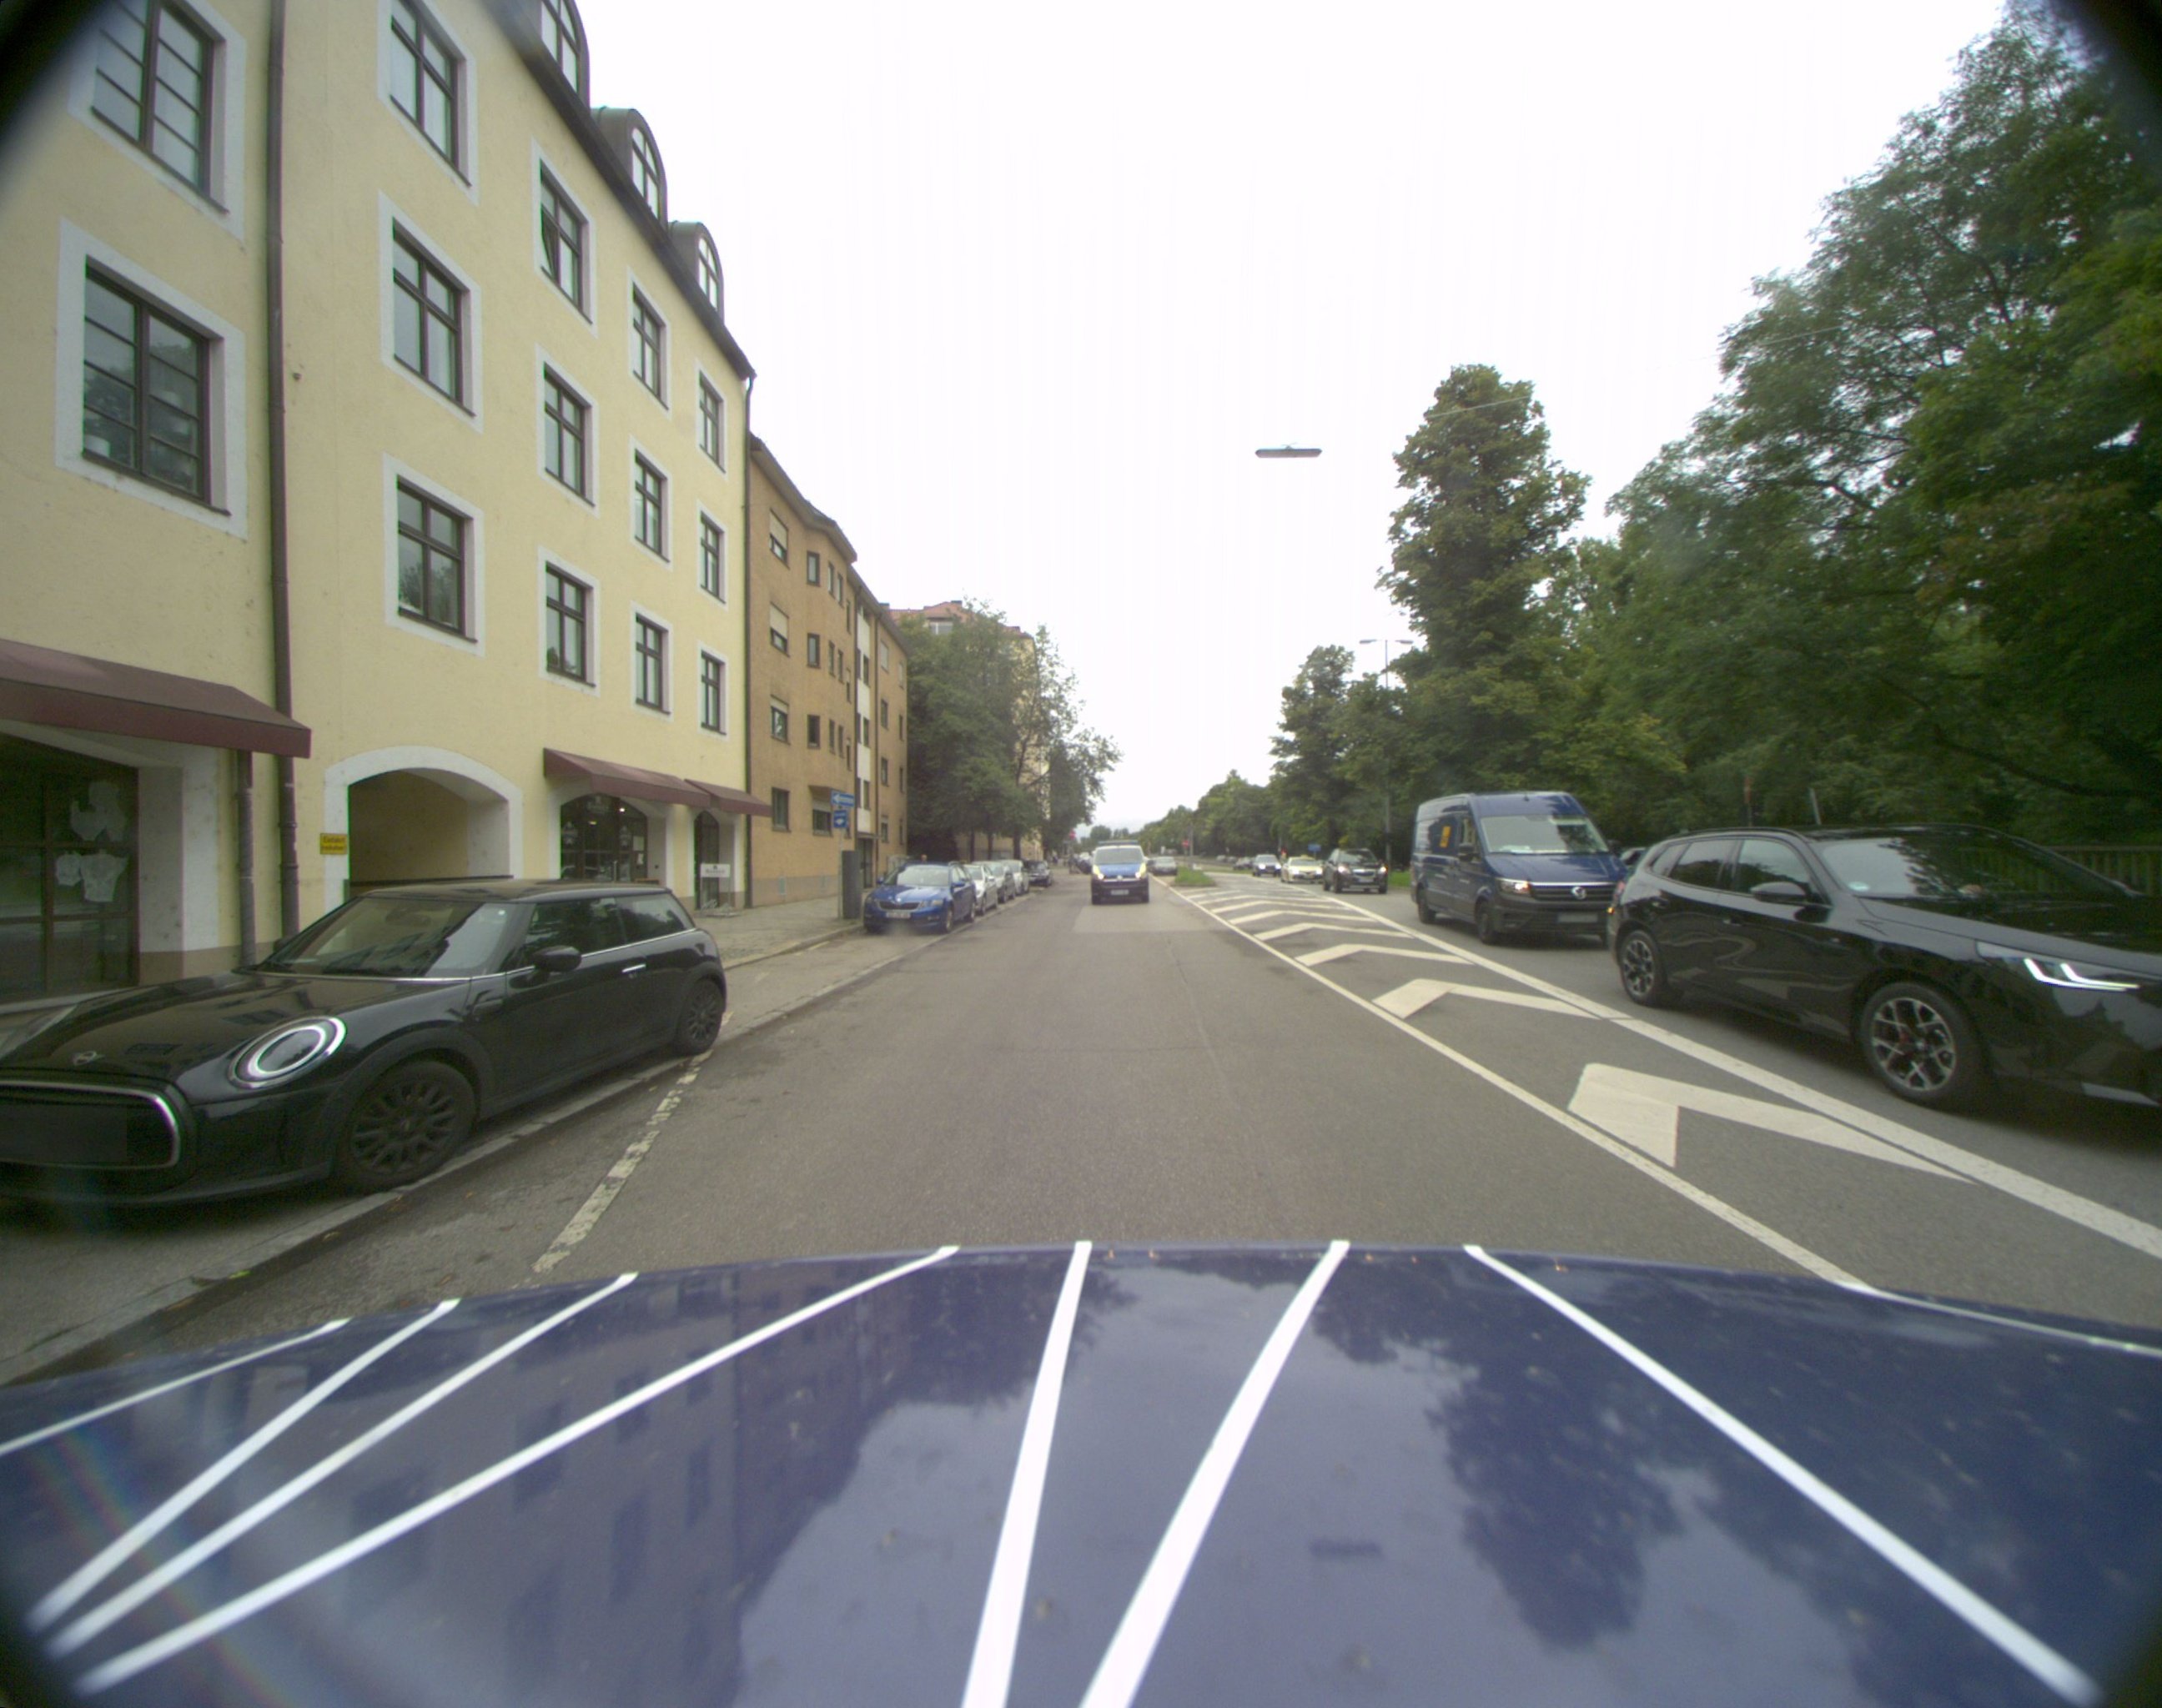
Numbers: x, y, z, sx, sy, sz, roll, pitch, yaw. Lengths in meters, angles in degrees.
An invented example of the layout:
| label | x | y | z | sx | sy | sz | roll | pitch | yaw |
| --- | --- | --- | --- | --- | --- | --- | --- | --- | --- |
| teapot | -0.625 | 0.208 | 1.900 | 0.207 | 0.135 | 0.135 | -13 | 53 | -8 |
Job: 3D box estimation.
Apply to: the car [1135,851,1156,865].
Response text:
| label | x | y | z | sx | sy | sz | roll | pitch | yaw |
| --- | --- | --- | --- | --- | --- | --- | --- | --- | --- |
| car | 8.162 | 0.529 | 96.825 | 2.075 | 1.692 | 5.089 | -1 | 0 | -2 |

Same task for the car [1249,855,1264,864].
| label | x | y | z | sx | sy | sz | roll | pitch | yaw |
| --- | --- | --- | --- | --- | --- | --- | --- | --- | --- |
| car | 32.159 | 0.990 | 138.996 | 1.866 | 1.736 | 4.000 | -1 | 0 | 0 |

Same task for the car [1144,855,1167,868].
| label | x | y | z | sx | sy | sz | roll | pitch | yaw |
| --- | --- | --- | --- | --- | --- | --- | --- | --- | --- |
| car | 8.539 | 0.812 | 87.294 | 1.992 | 1.447 | 4.281 | 0 | 0 | -2 |

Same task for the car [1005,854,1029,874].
| label | x | y | z | sx | sy | sz | roll | pitch | yaw |
| --- | --- | --- | --- | --- | --- | --- | --- | --- | --- |
| car | -5.324 | 0.826 | 63.576 | 1.825 | 1.556 | 4.244 | 0 | 0 | -2 |

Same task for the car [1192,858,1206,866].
| label | x | y | z | sx | sy | sz | roll | pitch | yaw |
| --- | --- | --- | --- | --- | --- | --- | --- | --- | --- |
| car | 22.615 | 1.563 | 145.699 | 1.832 | 1.438 | 4.235 | 1 | 0 | -2 |

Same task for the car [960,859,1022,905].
| label | x | y | z | sx | sy | sz | roll | pitch | yaw |
| --- | --- | --- | --- | --- | --- | --- | --- | --- | --- |
| car | -3.186 | 0.951 | 27.464 | 1.632 | 1.487 | 3.787 | 1 | 0 | 2 |

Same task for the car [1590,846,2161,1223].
| label | x | y | z | sx | sy | sz | roll | pitch | yaw |
| --- | --- | --- | --- | --- | --- | --- | --- | --- | --- |
| car | 5.863 | 0.761 | 5.457 | 1.916 | 1.577 | 4.834 | -1 | 0 | 11 |

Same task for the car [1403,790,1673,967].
| label | x | y | z | sx | sy | sz | roll | pitch | yaw |
| --- | --- | --- | --- | --- | --- | --- | --- | --- | --- |
| car | 7.606 | 0.297 | 13.562 | 2.187 | 2.450 | 5.855 | 0 | 1 | 10 |

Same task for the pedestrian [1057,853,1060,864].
| label | x | y | z | sx | sy | sz | roll | pitch | yaw |
| --- | --- | --- | --- | --- | --- | --- | --- | --- | --- |
| pedestrian | -3.860 | 0.777 | 130.521 | 0.458 | 2.002 | 0.617 | 0 | 0 | -17 |

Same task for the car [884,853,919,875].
| label | x | y | z | sx | sy | sz | roll | pitch | yaw |
| --- | --- | --- | --- | --- | --- | --- | --- | --- | --- |
| car | -14.889 | 0.773 | 63.217 | 1.917 | 1.741 | 4.244 | 0 | 0 | -1 |

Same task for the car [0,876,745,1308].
| label | x | y | z | sx | sy | sz | roll | pitch | yaw |
| --- | --- | --- | --- | --- | --- | --- | --- | --- | --- |
| car | -3.990 | 0.953 | 4.824 | 1.760 | 1.487 | 3.824 | 1 | 0 | 5 |

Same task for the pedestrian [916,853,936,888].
| label | x | y | z | sx | sy | sz | roll | pitch | yaw |
| --- | --- | --- | --- | --- | --- | --- | --- | --- | --- |
| pedestrian | -7.232 | 0.756 | 35.548 | 0.672 | 1.614 | 0.980 | -1 | 1 | 3 |

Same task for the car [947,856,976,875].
| label | x | y | z | sx | sy | sz | roll | pitch | yaw |
| --- | --- | --- | --- | --- | --- | --- | --- | --- | --- |
| car | -9.981 | 0.934 | 63.554 | 1.917 | 1.458 | 4.244 | 0 | 0 | -2 |

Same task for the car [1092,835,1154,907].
| label | x | y | z | sx | sy | sz | roll | pitch | yaw |
| --- | --- | --- | --- | --- | --- | --- | --- | --- | --- |
| car | 1.336 | 0.488 | 25.473 | 1.856 | 2.198 | 4.553 | -1 | 1 | 1 |

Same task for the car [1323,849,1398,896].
| label | x | y | z | sx | sy | sz | roll | pitch | yaw |
| --- | --- | --- | --- | --- | --- | --- | --- | --- | --- |
| car | 10.324 | 0.644 | 28.386 | 1.990 | 1.618 | 4.277 | 0 | 0 | 11 |

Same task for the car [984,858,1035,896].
| label | x | y | z | sx | sy | sz | roll | pitch | yaw |
| --- | --- | --- | --- | --- | --- | --- | --- | --- | --- |
| car | -2.957 | 0.936 | 32.220 | 1.632 | 1.487 | 3.821 | 1 | 0 | 2 |

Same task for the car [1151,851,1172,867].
| label | x | y | z | sx | sy | sz | roll | pitch | yaw |
| --- | --- | --- | --- | --- | --- | --- | --- | --- | --- |
| car | 8.047 | 0.519 | 76.258 | 1.991 | 1.556 | 4.284 | 0 | 0 | 4 |

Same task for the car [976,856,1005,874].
| label | x | y | z | sx | sy | sz | roll | pitch | yaw |
| --- | --- | --- | --- | --- | --- | --- | --- | --- | --- |
| car | -7.586 | 0.908 | 63.975 | 2.054 | 1.458 | 4.244 | 0 | 0 | -2 |

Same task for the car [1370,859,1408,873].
| label | x | y | z | sx | sy | sz | roll | pitch | yaw |
| --- | --- | --- | --- | --- | --- | --- | --- | --- | --- |
| car | 33.093 | 1.264 | 81.763 | 1.999 | 1.438 | 4.524 | 1 | 0 | -3 |

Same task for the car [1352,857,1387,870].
| label | x | y | z | sx | sy | sz | roll | pitch | yaw |
| --- | --- | --- | --- | --- | --- | --- | --- | --- | --- |
| car | 32.913 | 1.074 | 86.771 | 1.999 | 1.438 | 4.524 | 1 | 0 | -3 |

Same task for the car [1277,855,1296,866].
| label | x | y | z | sx | sy | sz | roll | pitch | yaw |
| --- | --- | --- | --- | --- | --- | --- | --- | --- | --- |
| car | 32.775 | 0.986 | 121.218 | 1.998 | 1.736 | 4.000 | -1 | 0 | 0 |

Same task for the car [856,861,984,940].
| label | x | y | z | sx | sy | sz | roll | pitch | yaw |
| --- | --- | --- | --- | --- | --- | --- | --- | --- | --- |
| car | -3.462 | 0.936 | 17.183 | 1.760 | 1.487 | 4.488 | 1 | 0 | 2 |

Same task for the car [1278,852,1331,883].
| label | x | y | z | sx | sy | sz | roll | pitch | yaw |
| --- | --- | --- | --- | --- | --- | --- | --- | --- | --- |
| car | 12.091 | 0.692 | 41.420 | 1.991 | 1.556 | 4.656 | 0 | 0 | 6 |

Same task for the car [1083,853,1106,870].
| label | x | y | z | sx | sy | sz | roll | pitch | yaw |
| --- | --- | --- | --- | --- | --- | --- | --- | --- | --- |
| car | 1.325 | 0.731 | 73.276 | 2.129 | 1.556 | 4.508 | -1 | 0 | 2 |

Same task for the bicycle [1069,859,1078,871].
| label | x | y | z | sx | sy | sz | roll | pitch | yaw |
| --- | --- | --- | --- | --- | --- | --- | --- | --- | --- |
| bicycle | -0.713 | 1.036 | 71.180 | 0.632 | 1.031 | 1.736 | 0 | 0 | 7 |

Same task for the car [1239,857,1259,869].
| label | x | y | z | sx | sy | sz | roll | pitch | yaw |
| --- | --- | --- | --- | --- | --- | --- | --- | --- | --- |
| car | 23.034 | 1.188 | 104.399 | 1.865 | 1.549 | 4.000 | -1 | 0 | 1 |

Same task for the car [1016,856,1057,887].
| label | x | y | z | sx | sy | sz | roll | pitch | yaw |
| --- | --- | --- | --- | --- | --- | --- | --- | --- | --- |
| car | -2.370 | 0.910 | 41.252 | 1.796 | 1.488 | 4.376 | 2 | 0 | 2 |

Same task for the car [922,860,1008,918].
| label | x | y | z | sx | sy | sz | roll | pitch | yaw |
| --- | --- | --- | --- | --- | --- | --- | --- | --- | --- |
| car | -3.288 | 0.946 | 22.393 | 1.694 | 1.487 | 4.434 | 1 | 0 | 2 |

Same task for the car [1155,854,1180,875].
| label | x | y | z | sx | sy | sz | roll | pitch | yaw |
| --- | --- | --- | --- | --- | --- | --- | --- | --- | --- |
| car | 6.902 | 0.825 | 60.487 | 1.902 | 1.556 | 4.773 | 0 | 0 | 6 |

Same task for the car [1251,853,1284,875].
| label | x | y | z | sx | sy | sz | roll | pitch | yaw |
| --- | --- | --- | --- | --- | --- | --- | --- | --- | --- |
| car | 14.186 | 0.734 | 58.042 | 1.991 | 1.556 | 4.276 | 0 | 0 | 8 |

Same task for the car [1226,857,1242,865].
| label | x | y | z | sx | sy | sz | roll | pitch | yaw |
| --- | --- | --- | --- | --- | --- | --- | --- | --- | --- |
| car | 28.367 | 1.243 | 141.326 | 1.897 | 1.438 | 4.032 | 0 | 0 | -4 |
